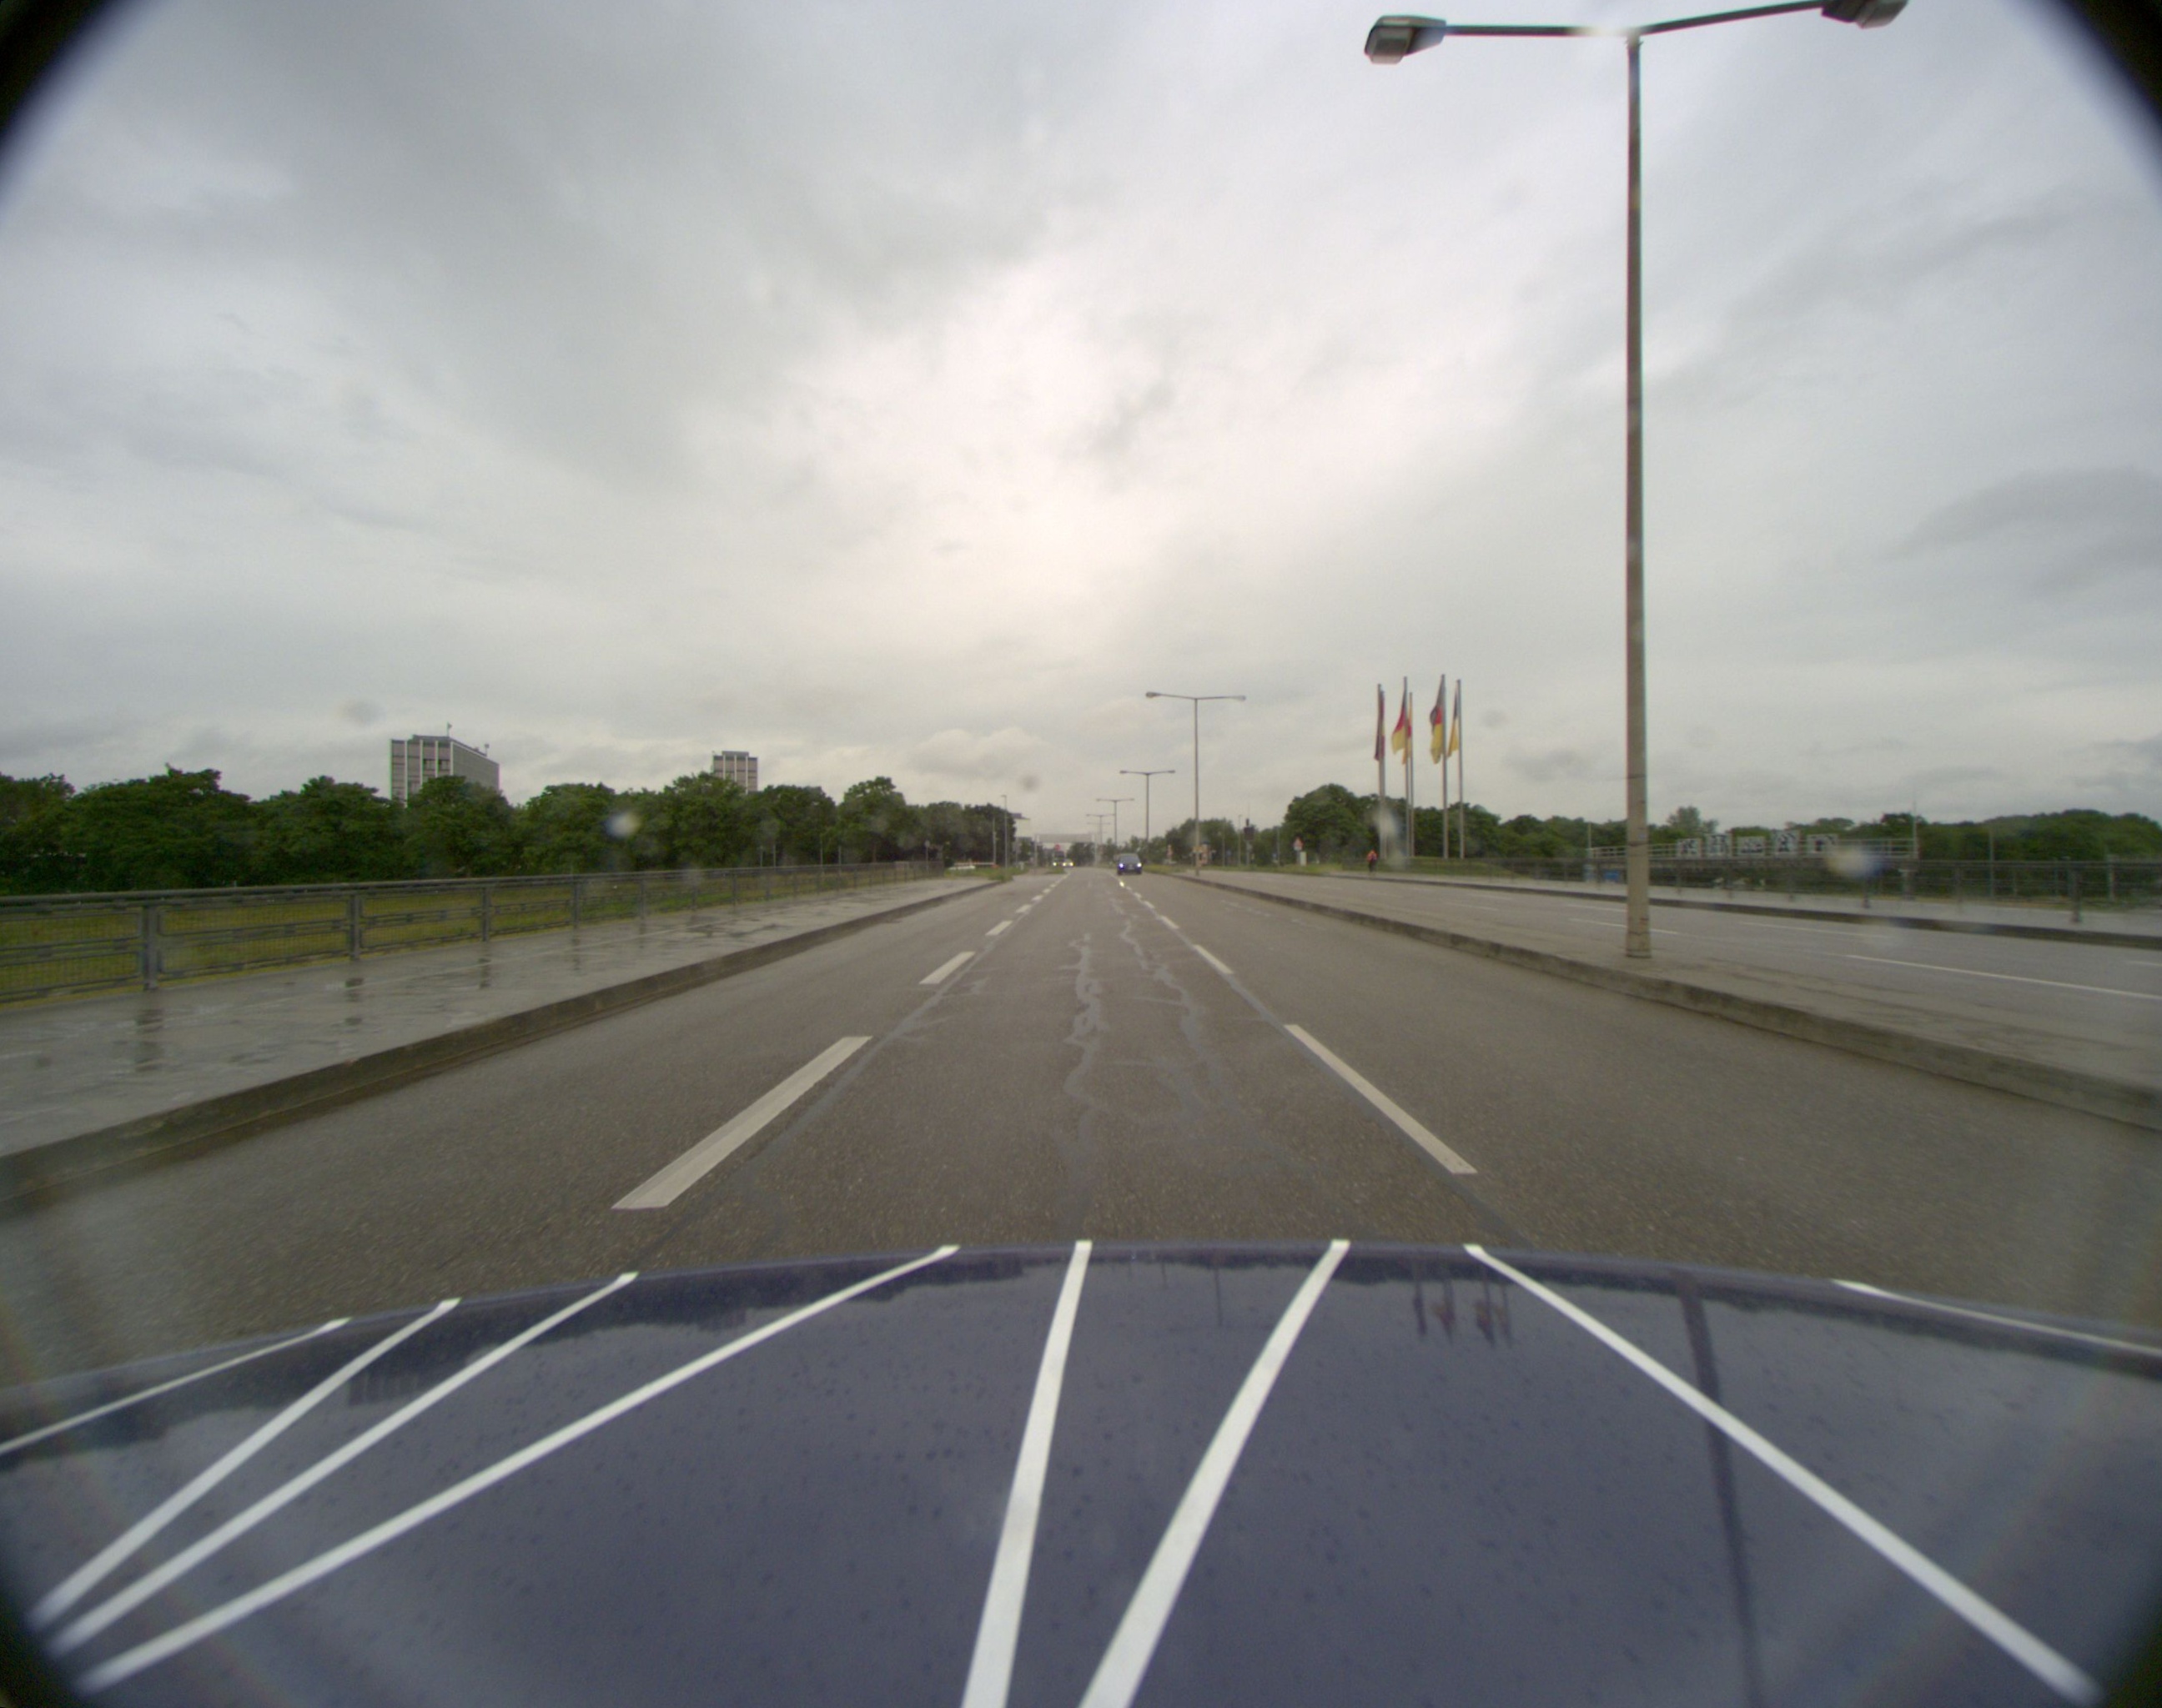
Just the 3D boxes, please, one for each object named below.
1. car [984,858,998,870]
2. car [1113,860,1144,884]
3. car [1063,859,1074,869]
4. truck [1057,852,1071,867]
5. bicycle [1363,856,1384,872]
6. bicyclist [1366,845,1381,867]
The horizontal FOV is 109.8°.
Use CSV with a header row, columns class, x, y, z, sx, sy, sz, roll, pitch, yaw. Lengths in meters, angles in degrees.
class,x,y,z,sx,sy,sz,roll,pitch,yaw
car,-13.906,1.542,117.807,1.841,1.739,3.999,-1,0,-2
car,3.827,1.471,62.121,1.851,1.740,4.817,-4,-1,-4
car,-2.466,1.843,144.553,1.999,1.701,3.999,-1,0,-2
truck,-3.821,1.197,168.368,2.860,3.197,8.096,-1,0,-2
bicycle,20.179,0.696,52.424,0.611,1.027,2.000,-2,1,0
bicyclist,20.154,0.130,52.413,0.621,1.491,1.003,-2,1,0
